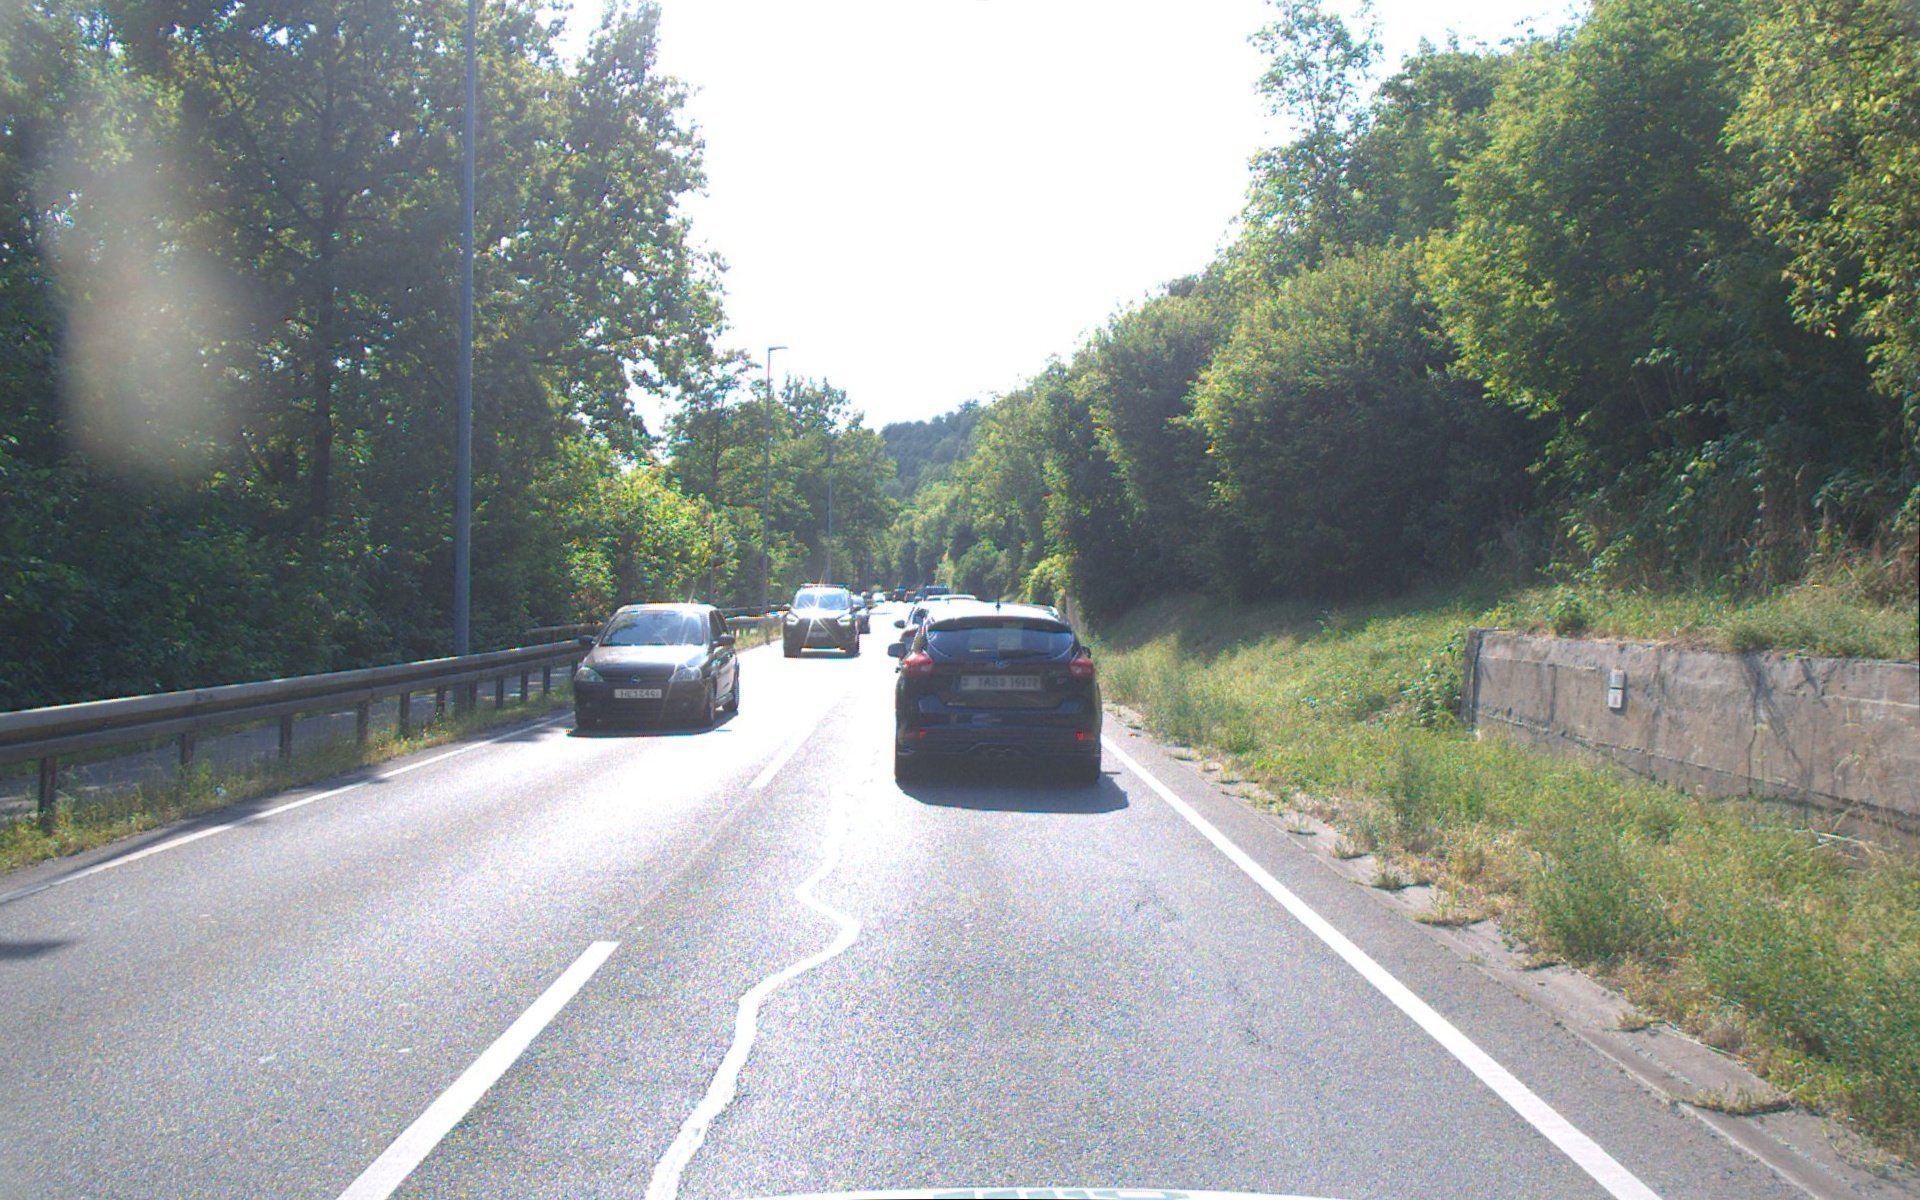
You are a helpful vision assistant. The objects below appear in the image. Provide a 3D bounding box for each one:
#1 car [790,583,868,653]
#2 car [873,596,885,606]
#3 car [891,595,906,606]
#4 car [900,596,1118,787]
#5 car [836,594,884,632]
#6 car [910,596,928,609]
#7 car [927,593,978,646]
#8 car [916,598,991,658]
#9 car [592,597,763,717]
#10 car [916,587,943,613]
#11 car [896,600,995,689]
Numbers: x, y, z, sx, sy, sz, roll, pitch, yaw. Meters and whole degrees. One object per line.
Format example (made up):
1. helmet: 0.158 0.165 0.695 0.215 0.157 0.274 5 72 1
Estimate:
1. car: -3.409 0.451 43.696 1.712 1.747 4.221 0 0 0
2. car: -11.842 0.120 242.032 1.590 1.401 4.046 -2 0 -1
3. car: -9.202 0.043 247.195 1.956 1.545 3.993 0 0 -8
4. car: 0.364 0.730 15.118 1.704 1.482 3.999 1 0 -1
5. car: -3.993 0.501 66.554 1.657 1.445 4.142 -1 0 0
6. car: -5.261 0.313 212.621 1.956 1.545 3.993 0 0 -8
7. car: -0.257 0.595 53.077 1.597 1.624 3.999 0 0 -1
8. car: -0.186 0.666 41.197 1.768 1.416 3.999 0 0 -1
9. car: -3.718 0.704 22.387 1.647 1.467 4.000 0 0 0
10. car: -2.218 -0.027 118.693 1.825 1.812 3.998 0 0 -3
11. car: -0.219 0.731 29.268 1.627 1.443 4.000 0 0 1
